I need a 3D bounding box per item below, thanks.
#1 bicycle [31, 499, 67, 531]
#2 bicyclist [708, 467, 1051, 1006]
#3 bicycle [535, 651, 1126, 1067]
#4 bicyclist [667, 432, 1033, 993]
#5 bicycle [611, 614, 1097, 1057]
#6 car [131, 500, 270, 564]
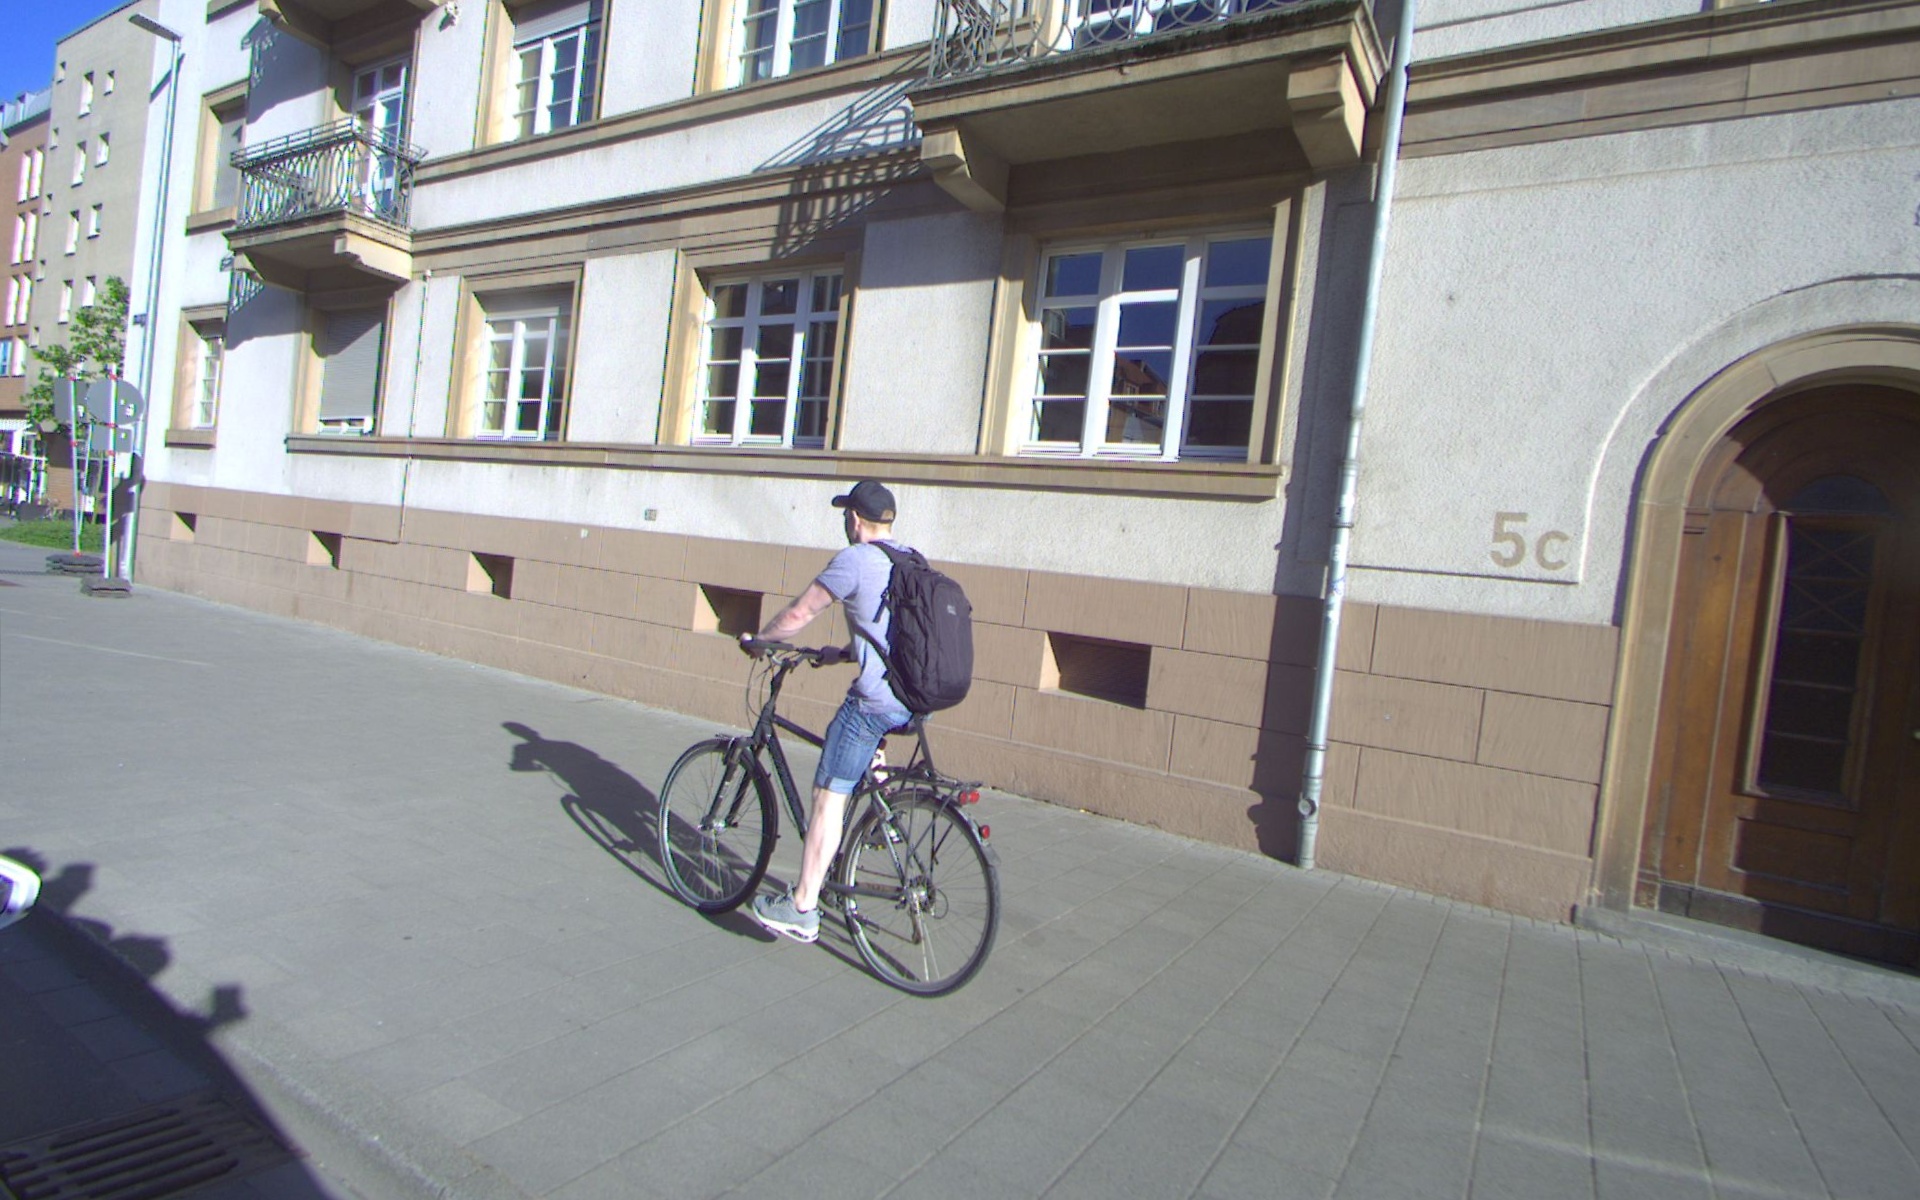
[{"bbox_3d":[-38.547,-3.600,42.564,1.510,1.185,0.614,7,2,29],"label":"bicycle"},{"bbox_3d":[-0.299,0.421,3.678,0.934,1.692,0.596,7,3,31],"label":"bicyclist"},{"bbox_3d":[-0.567,0.815,3.848,2.161,0.965,0.768,7,1,31],"label":"bicycle"},{"bbox_3d":[-0.399,0.344,3.744,0.922,1.785,0.733,7,1,31],"label":"bicyclist"},{"bbox_3d":[-0.450,0.741,3.778,1.717,1.186,0.596,7,3,31],"label":"bicycle"},{"bbox_3d":[-24.400,-2.179,32.328,3.765,1.491,1.669,7,-1,20],"label":"car"}]
